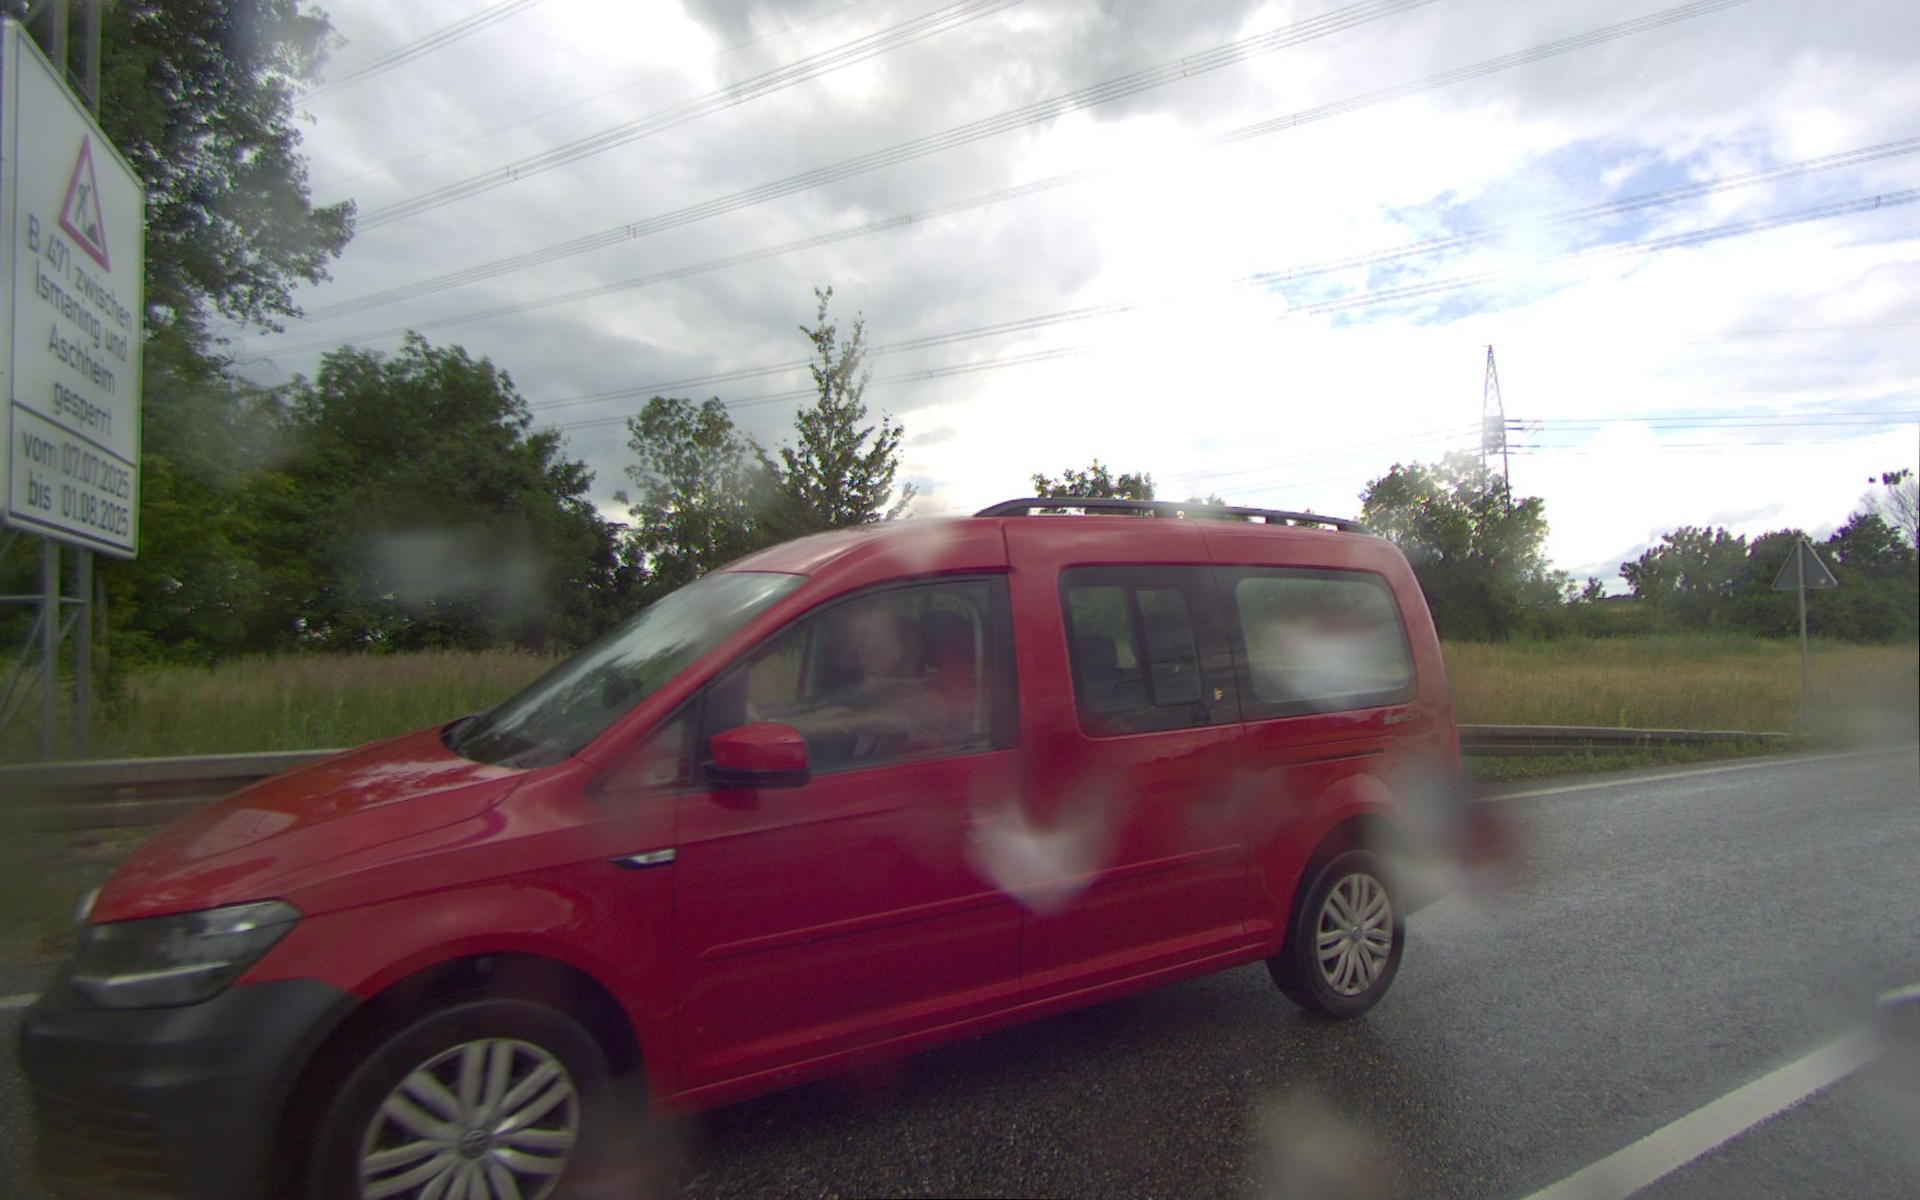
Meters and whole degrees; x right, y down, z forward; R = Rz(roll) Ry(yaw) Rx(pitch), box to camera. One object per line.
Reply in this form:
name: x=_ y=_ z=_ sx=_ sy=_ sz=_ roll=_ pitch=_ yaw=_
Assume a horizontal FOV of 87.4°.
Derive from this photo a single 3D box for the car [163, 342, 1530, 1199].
car: x=0.011 y=0.542 z=3.783 sx=4.469 sy=1.875 sz=1.792 roll=2 pitch=-2 yaw=-31
